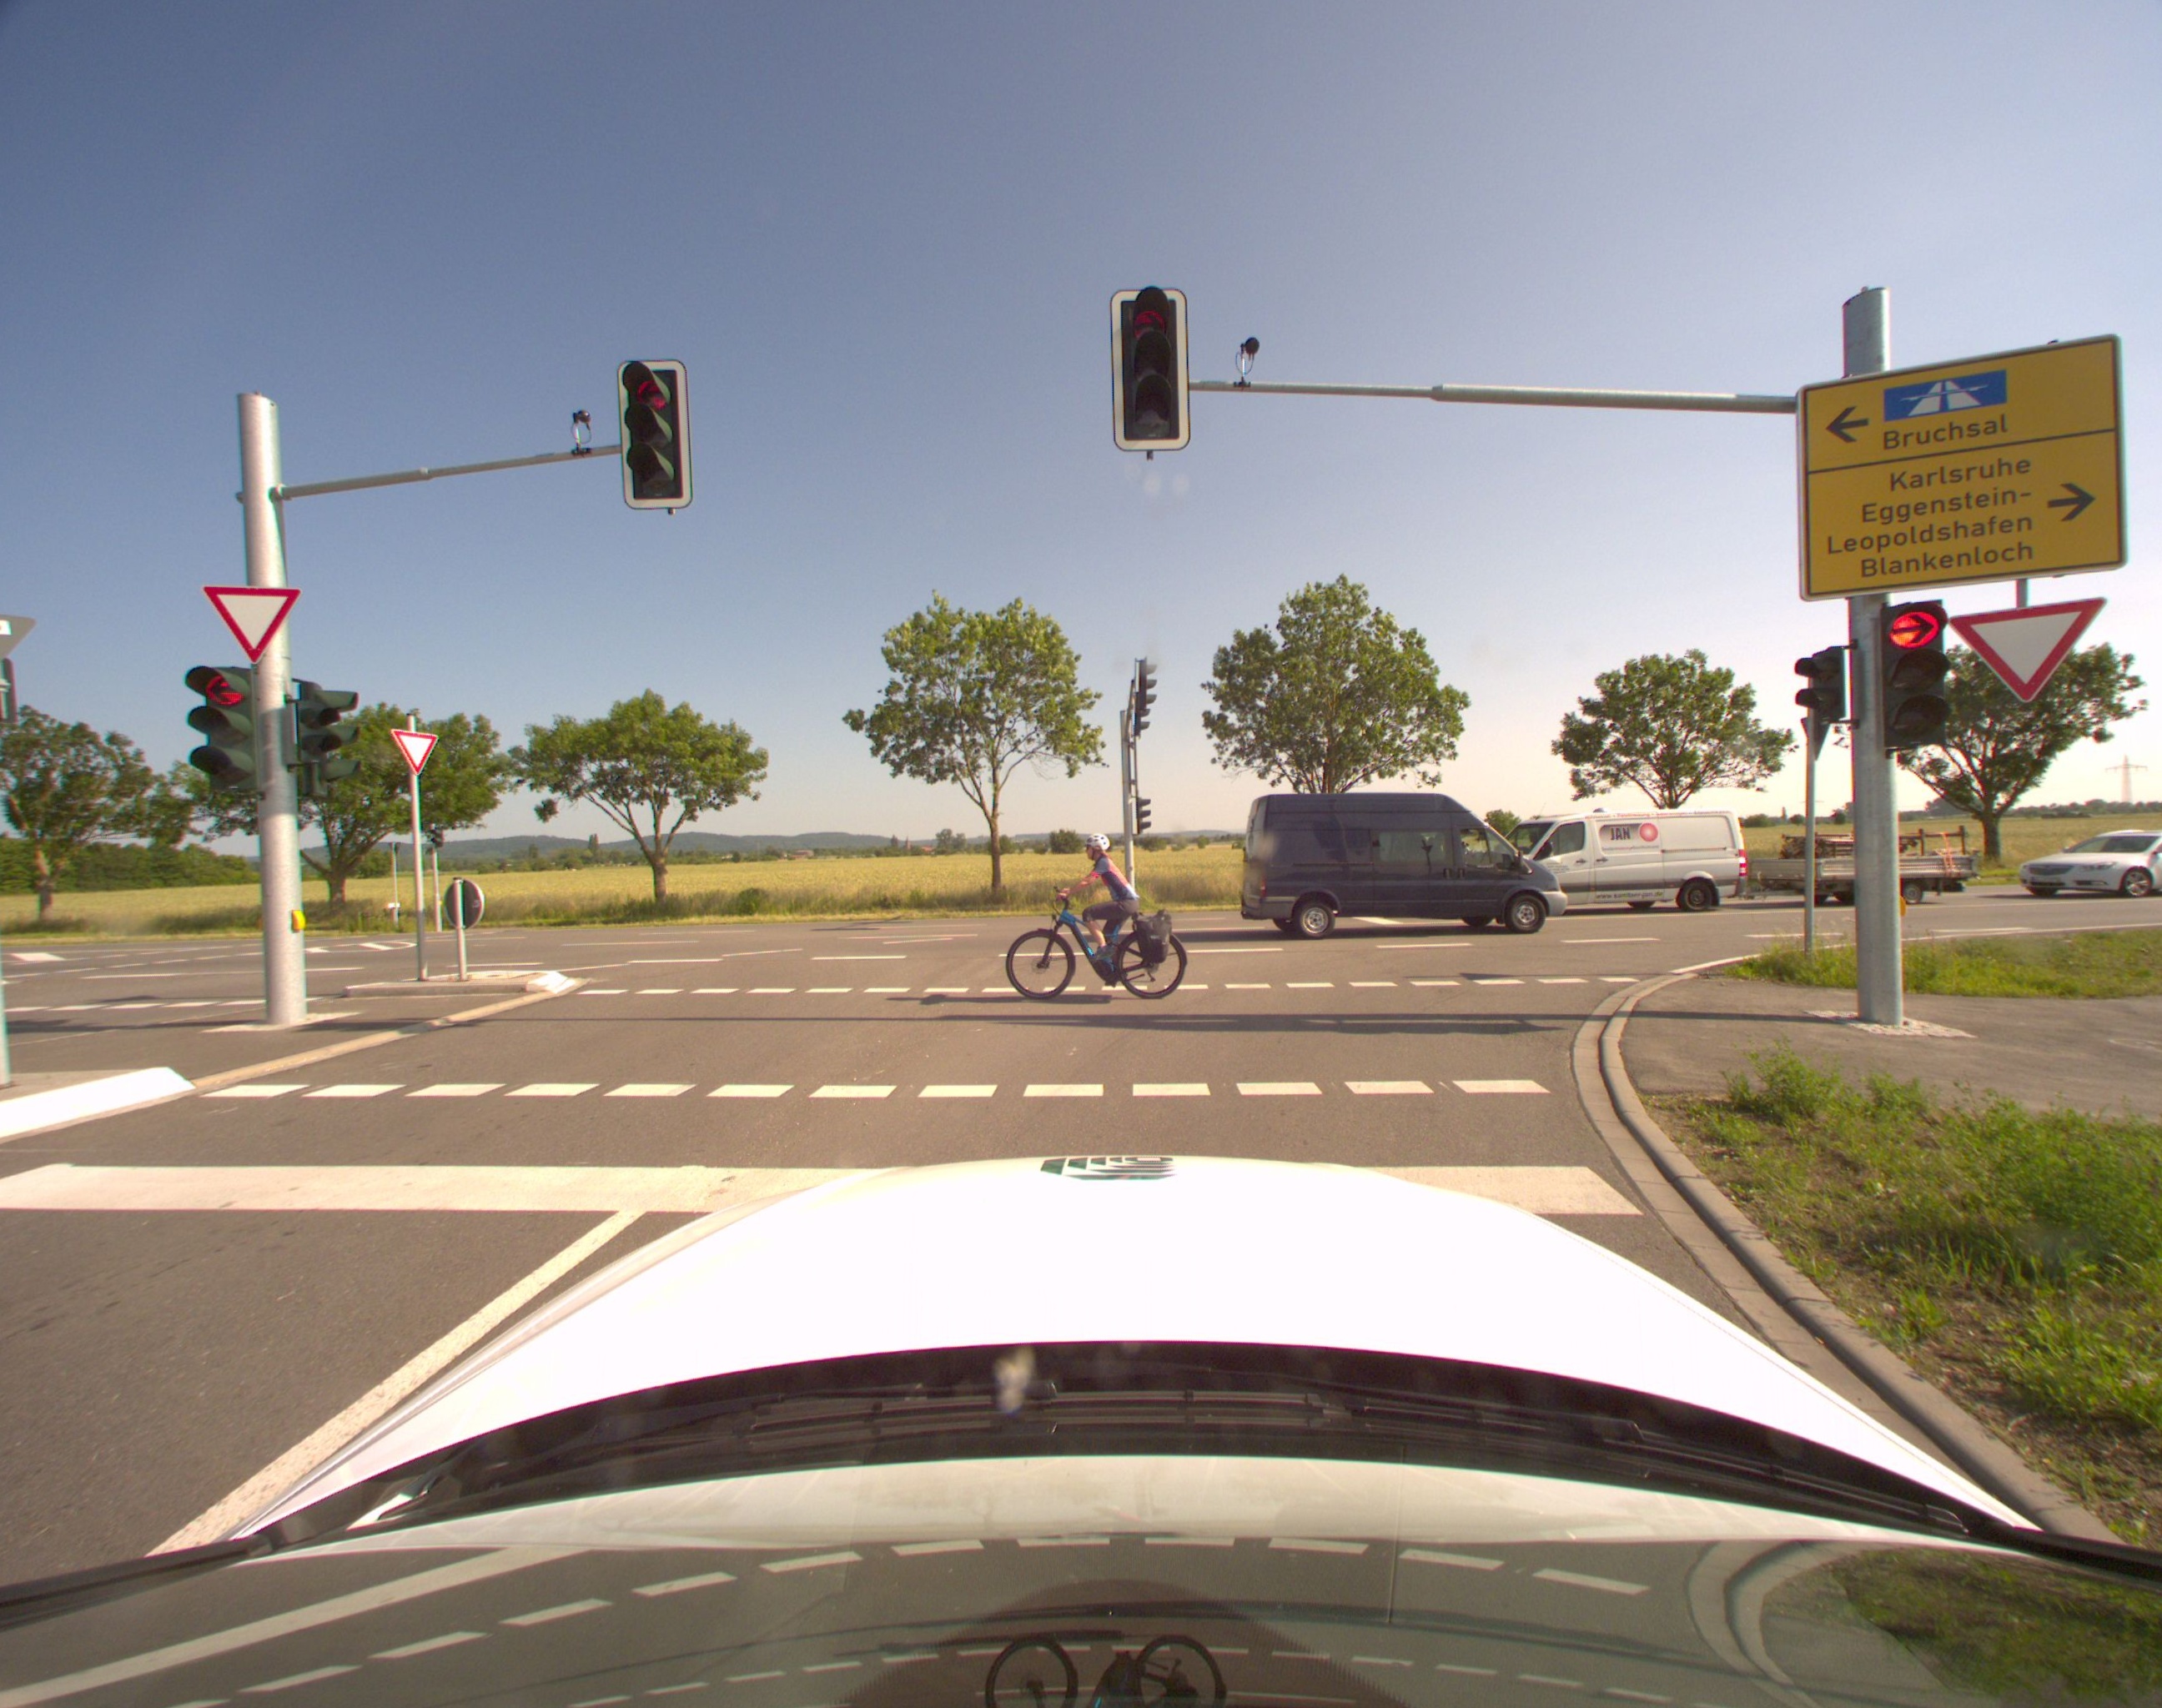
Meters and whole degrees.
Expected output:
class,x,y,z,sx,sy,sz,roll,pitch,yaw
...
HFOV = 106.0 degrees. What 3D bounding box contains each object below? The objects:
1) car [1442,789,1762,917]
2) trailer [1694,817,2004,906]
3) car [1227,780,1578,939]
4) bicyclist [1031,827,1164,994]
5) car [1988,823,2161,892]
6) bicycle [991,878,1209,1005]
class,x,y,z,sx,sy,sz,roll,pitch,yaw
car,11.676,-0.010,18.557,5.939,2.493,1.999,-3,-1,-1
trailer,17.339,0.170,18.585,5.245,1.753,1.953,-2,-1,-1
car,5.778,0.083,15.172,5.714,2.622,2.033,-1,0,-1
bicyclist,0.140,0.540,8.558,1.276,1.601,1.164,-1,1,-3
car,24.648,0.080,19.054,4.858,1.510,1.997,0,-1,-4
bicycle,0.173,0.880,8.537,2.151,1.186,0.889,-1,-1,-4
